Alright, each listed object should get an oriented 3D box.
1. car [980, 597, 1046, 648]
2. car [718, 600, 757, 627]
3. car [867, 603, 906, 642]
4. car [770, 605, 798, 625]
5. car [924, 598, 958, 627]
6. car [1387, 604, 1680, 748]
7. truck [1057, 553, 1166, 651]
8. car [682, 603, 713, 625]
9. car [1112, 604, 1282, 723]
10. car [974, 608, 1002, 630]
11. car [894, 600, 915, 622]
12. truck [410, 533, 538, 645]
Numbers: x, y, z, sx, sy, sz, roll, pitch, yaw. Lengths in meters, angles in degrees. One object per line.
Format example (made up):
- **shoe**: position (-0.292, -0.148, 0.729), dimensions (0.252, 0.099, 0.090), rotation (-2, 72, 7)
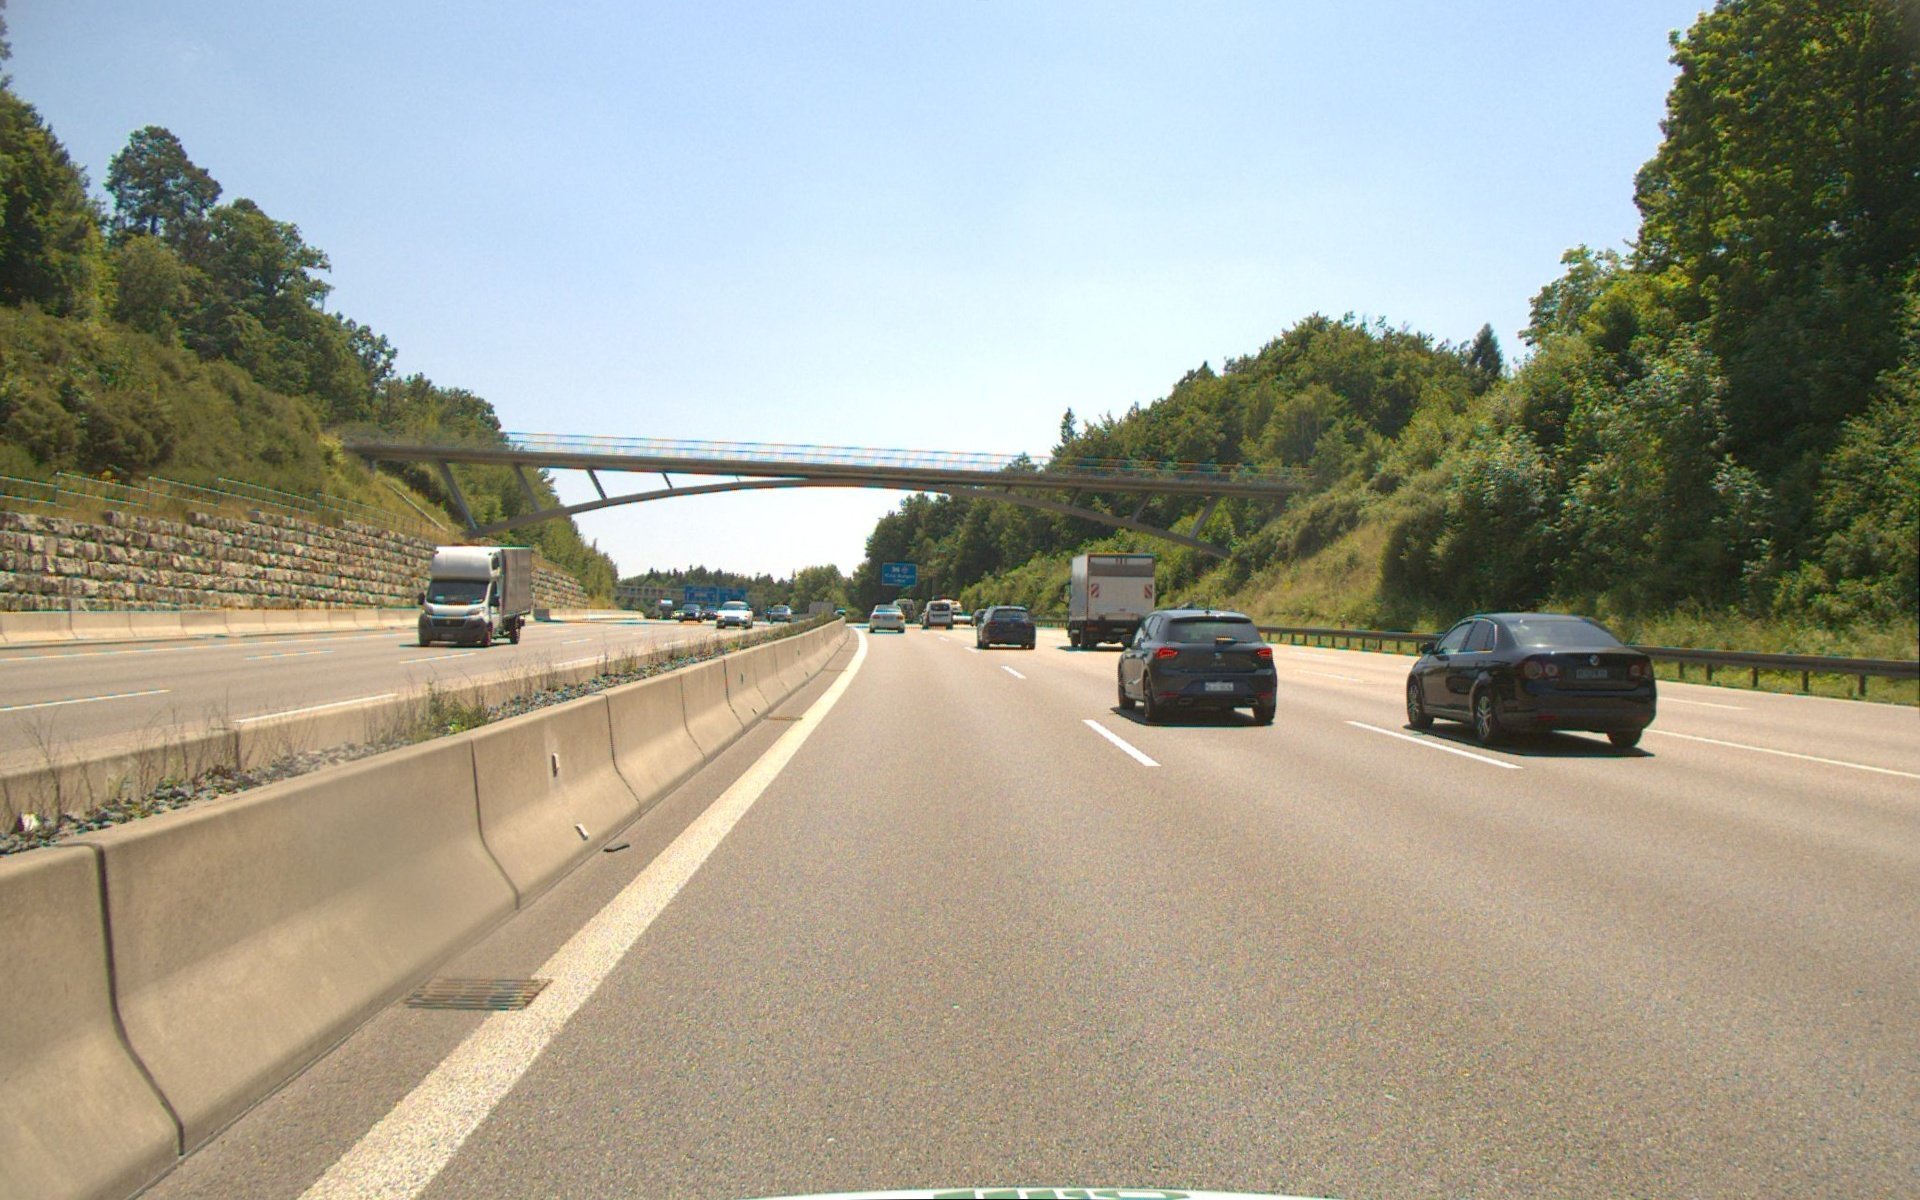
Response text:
- **car**: position (1.784, 0.740, 56.837), dimensions (1.953, 1.662, 4.758), rotation (1, 0, -2)
- **car**: position (-12.958, 0.780, 96.598), dimensions (1.863, 1.522, 4.802), rotation (1, 0, -3)
- **car**: position (-3.942, 1.206, 88.491), dimensions (1.972, 1.878, 3.996), rotation (1, -3, -4)
- **car**: position (-14.297, 1.206, 134.466), dimensions (1.953, 1.646, 3.998), rotation (1, 0, -3)
- **car**: position (-1.269, 0.803, 107.522), dimensions (2.061, 1.775, 4.685), rotation (1, 0, -2)
- **car**: position (6.518, 0.784, 19.412), dimensions (1.631, 1.433, 4.902), rotation (1, 0, -1)
- **truck**: position (5.294, 0.063, 59.114), dimensions (2.925, 3.222, 7.571), rotation (1, 0, -2)
- **car**: position (-20.869, 1.112, 131.488), dimensions (1.953, 1.646, 3.998), rotation (1, 0, -3)
- **car**: position (3.148, 0.803, 22.714), dimensions (1.673, 1.458, 3.999), rotation (1, 0, -1)
- **car**: position (2.220, 1.539, 134.001), dimensions (1.954, 1.620, 3.997), rotation (2, -1, -3)
- **car**: position (-6.058, 1.209, 180.036), dimensions (2.220, 2.413, 4.699), rotation (1, -1, -3)
- **truck**: position (-15.009, -0.326, 51.575), dimensions (2.231, 3.198, 6.914), rotation (2, 0, -3)
